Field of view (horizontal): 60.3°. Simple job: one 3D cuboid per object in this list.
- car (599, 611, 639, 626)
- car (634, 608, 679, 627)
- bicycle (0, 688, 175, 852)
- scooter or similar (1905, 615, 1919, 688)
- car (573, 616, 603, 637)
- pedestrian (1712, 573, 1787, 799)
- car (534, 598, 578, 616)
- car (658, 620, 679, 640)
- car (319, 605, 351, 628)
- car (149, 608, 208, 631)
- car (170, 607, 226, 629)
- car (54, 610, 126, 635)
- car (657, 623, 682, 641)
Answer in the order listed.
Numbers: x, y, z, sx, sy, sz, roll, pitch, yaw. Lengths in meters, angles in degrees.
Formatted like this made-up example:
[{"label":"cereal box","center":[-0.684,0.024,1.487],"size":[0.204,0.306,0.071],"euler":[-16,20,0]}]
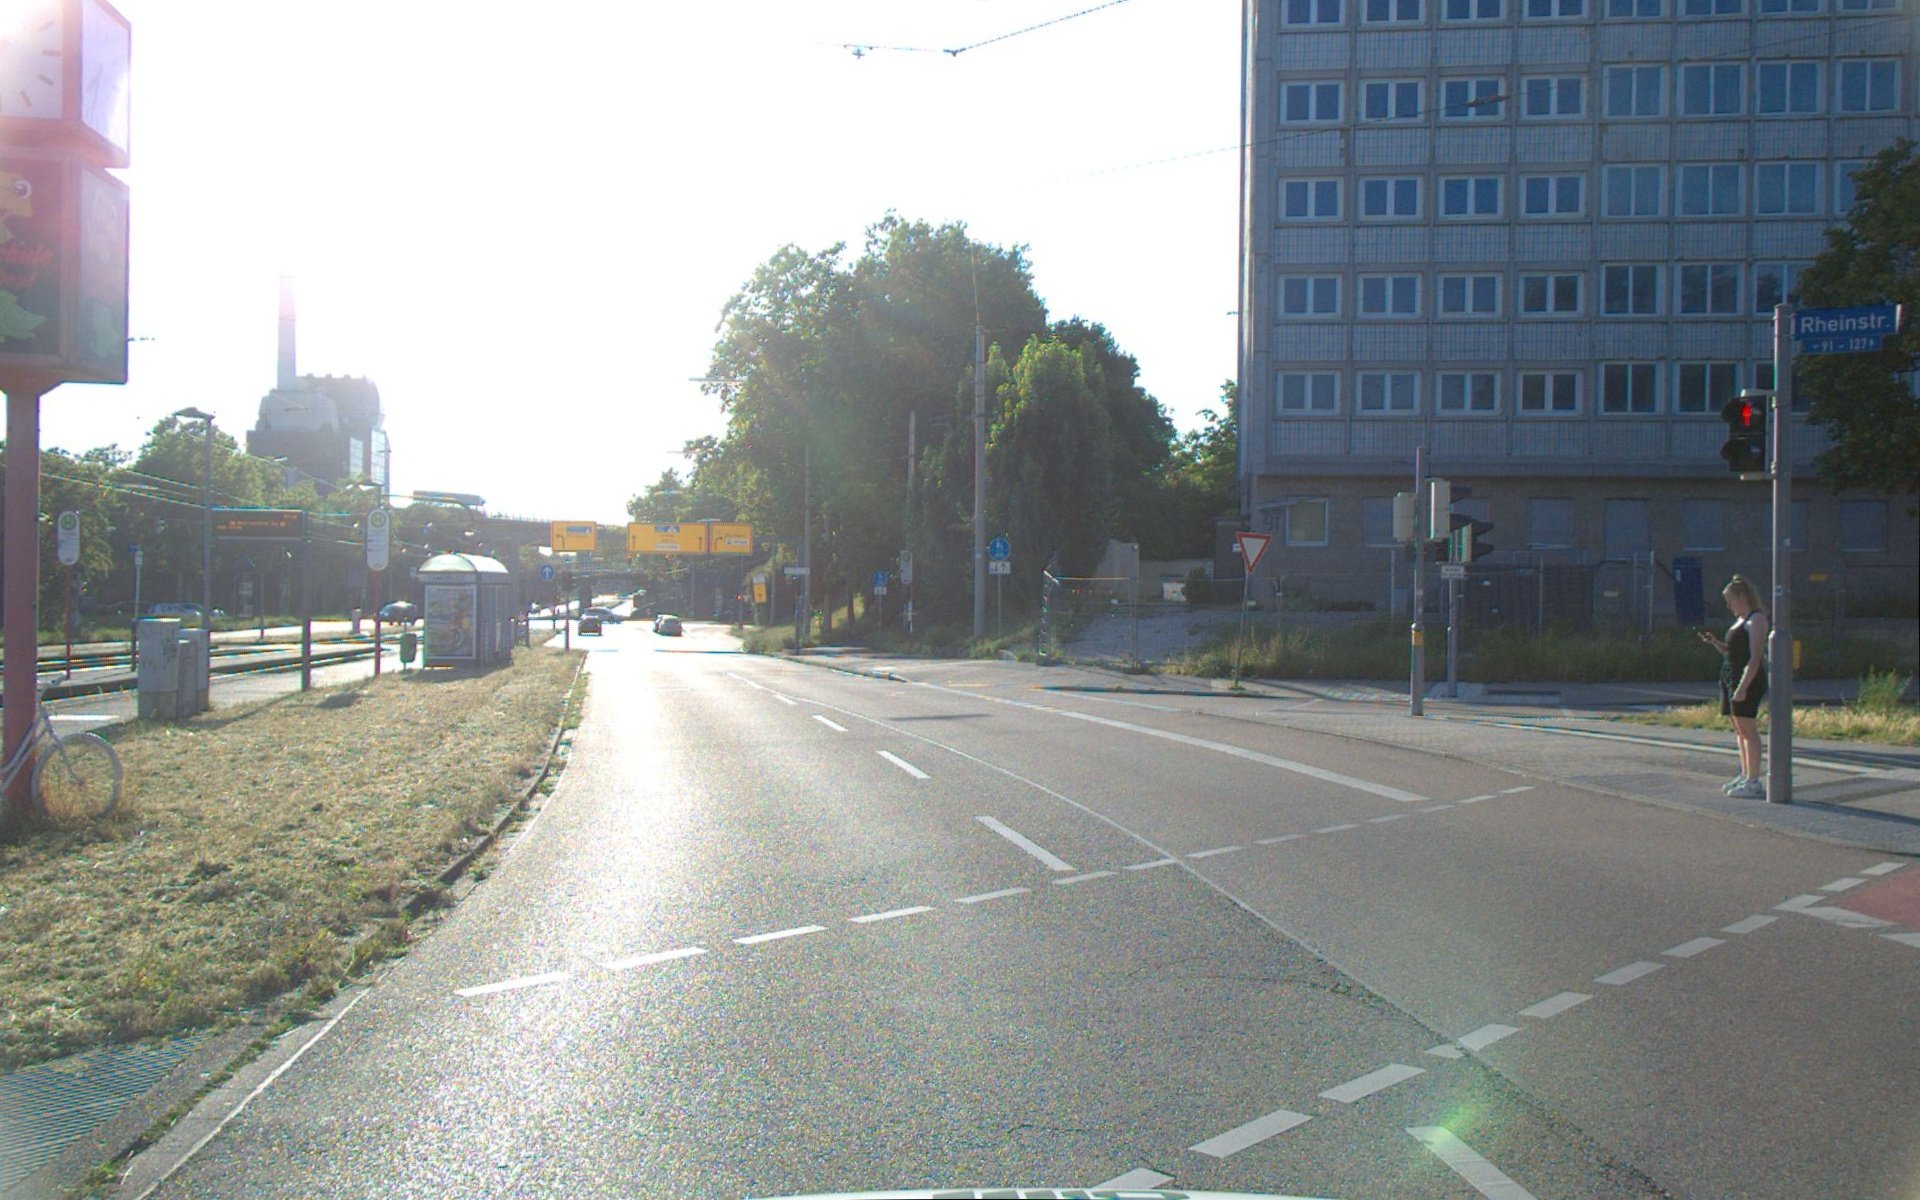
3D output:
[{"label":"car","center":[-34.241,1.808,166.109],"size":[3.917,1.471,1.769],"euler":[0,0,-12]},{"label":"car","center":[-35.175,2.044,191.571],"size":[4.743,2.049,2.002],"euler":[1,1,8]},{"label":"bicycle","center":[-5.961,1.080,10.644],"size":[0.542,0.934,1.743],"euler":[-2,0,20]},{"label":"scooter or similar","center":[16.410,0.853,27.400],"size":[1.269,1.190,0.327],"euler":[0,0,10]},{"label":"car","center":[-27.972,1.974,124.590],"size":[2.000,1.471,3.990],"euler":[0,0,-10]},{"label":"pedestrian","center":[5.907,0.627,12.396],"size":[0.427,1.640,0.630],"euler":[0,-1,19]},{"label":"car","center":[-48.643,0.796,199.134],"size":[4.682,2.049,2.002],"euler":[1,1,9]},{"label":"car","center":[-22.950,2.365,130.183],"size":[1.487,1.412,3.357],"euler":[1,1,-9]},{"label":"car","center":[-57.556,1.532,152.448],"size":[1.957,2.049,3.992],"euler":[0,-1,-9]},{"label":"car","center":[-62.642,1.572,132.607],"size":[3.956,1.780,1.974],"euler":[0,-1,-37]},{"label":"car","center":[-62.890,1.510,136.549],"size":[3.956,1.780,1.974],"euler":[0,-1,-37]},{"label":"car","center":[-66.973,1.707,127.348],"size":[4.738,1.876,1.974],"euler":[0,0,-37]},{"label":"car","center":[-24.054,2.623,136.884],"size":[2.001,1.471,3.990],"euler":[0,0,-10]}]
